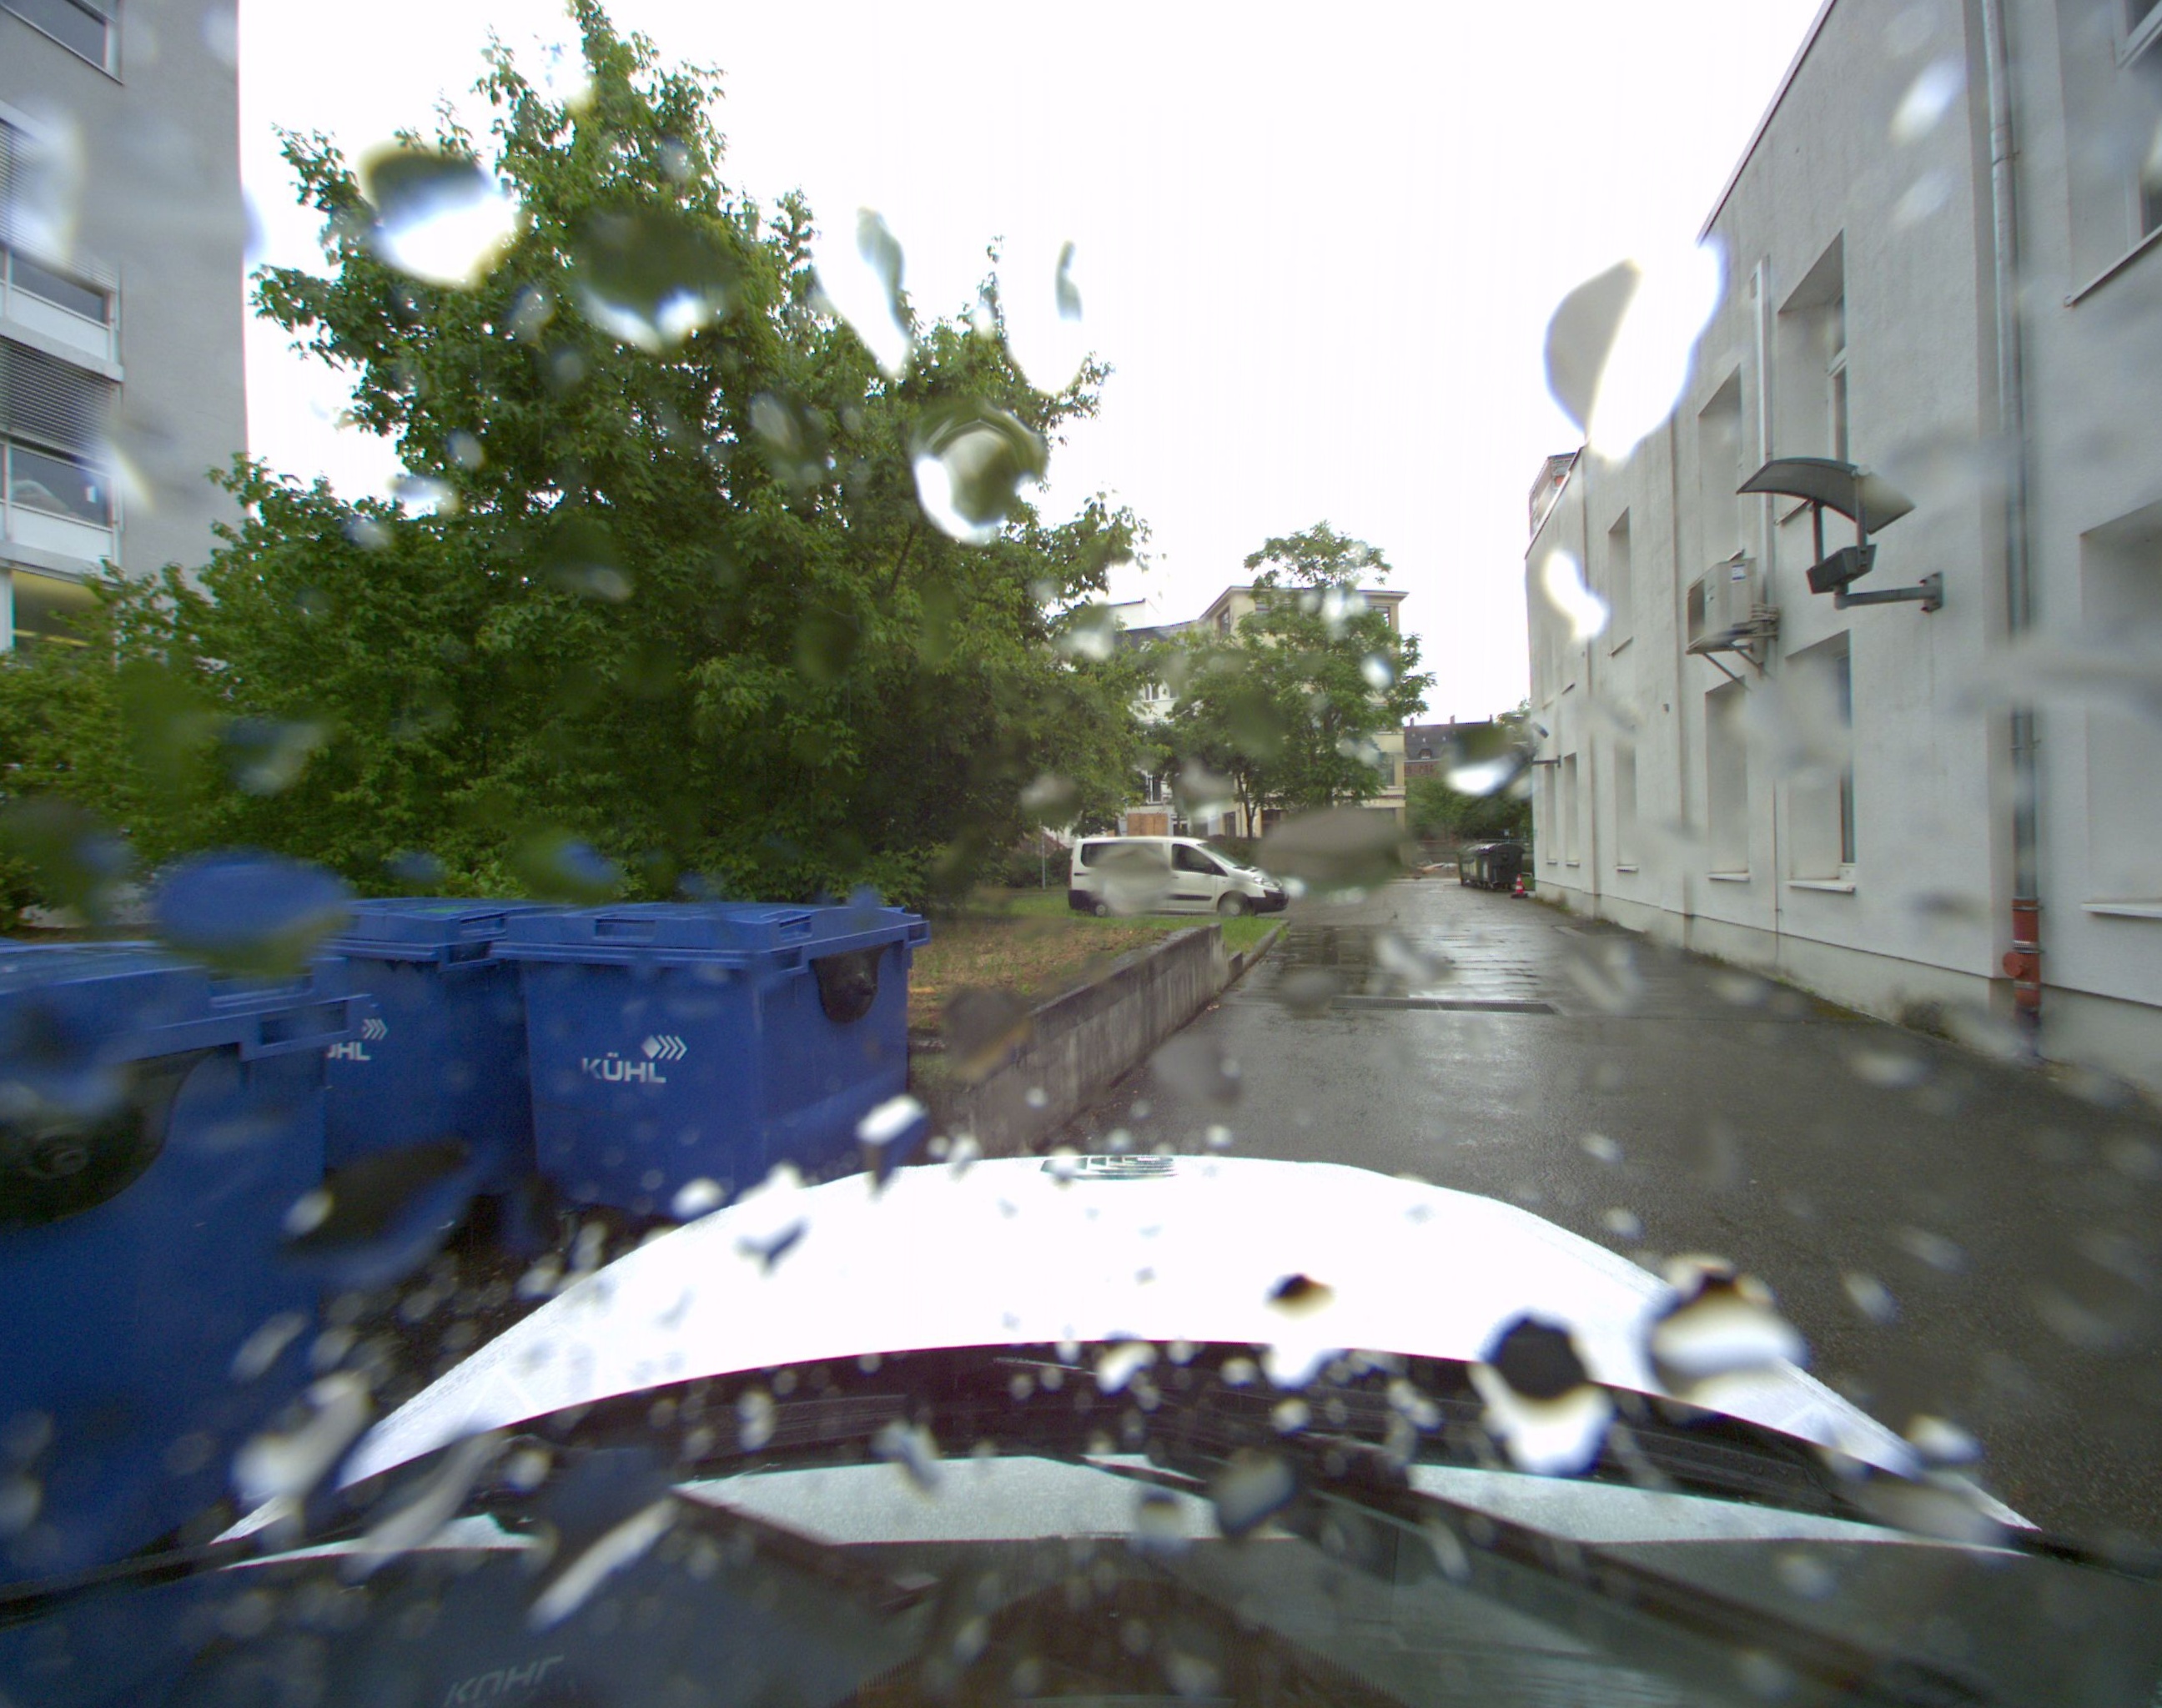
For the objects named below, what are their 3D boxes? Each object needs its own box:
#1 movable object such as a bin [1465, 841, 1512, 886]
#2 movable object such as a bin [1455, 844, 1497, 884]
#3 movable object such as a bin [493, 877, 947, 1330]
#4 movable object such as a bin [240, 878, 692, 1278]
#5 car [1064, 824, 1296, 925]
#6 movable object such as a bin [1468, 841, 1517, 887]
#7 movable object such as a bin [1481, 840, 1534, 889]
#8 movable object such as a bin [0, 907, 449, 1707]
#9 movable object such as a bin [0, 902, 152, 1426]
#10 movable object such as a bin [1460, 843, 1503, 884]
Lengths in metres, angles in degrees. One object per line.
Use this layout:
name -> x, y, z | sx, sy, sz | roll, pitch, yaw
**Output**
movable object such as a bin -> 13.824, 0.343, 27.673 | 1.205, 1.468, 1.241 | -1, -2, 18
movable object such as a bin -> 14.684, 0.390, 30.306 | 1.205, 1.437, 1.265 | -1, -2, 18
movable object such as a bin -> -1.328, 0.787, 3.162 | 1.211, 1.337, 1.012 | -1, 0, 20
movable object such as a bin -> -2.576, 0.809, 3.513 | 1.211, 1.337, 1.012 | -1, 1, 20
car -> 2.236, 0.469, 18.326 | 4.739, 2.013, 2.011 | -2, 0, 21
movable object such as a bin -> 13.226, 0.341, 26.246 | 1.205, 1.437, 1.300 | -1, -2, 18
movable object such as a bin -> 12.802, 0.336, 24.491 | 1.205, 1.437, 1.241 | -1, -2, 18
movable object such as a bin -> -2.270, 0.816, 1.645 | 1.192, 1.337, 1.123 | -1, 0, 24
movable object such as a bin -> -3.513, 0.847, 2.066 | 1.192, 1.337, 1.123 | 0, 2, 20
movable object such as a bin -> 14.235, 0.350, 28.995 | 1.205, 1.437, 1.265 | -1, -2, 18
